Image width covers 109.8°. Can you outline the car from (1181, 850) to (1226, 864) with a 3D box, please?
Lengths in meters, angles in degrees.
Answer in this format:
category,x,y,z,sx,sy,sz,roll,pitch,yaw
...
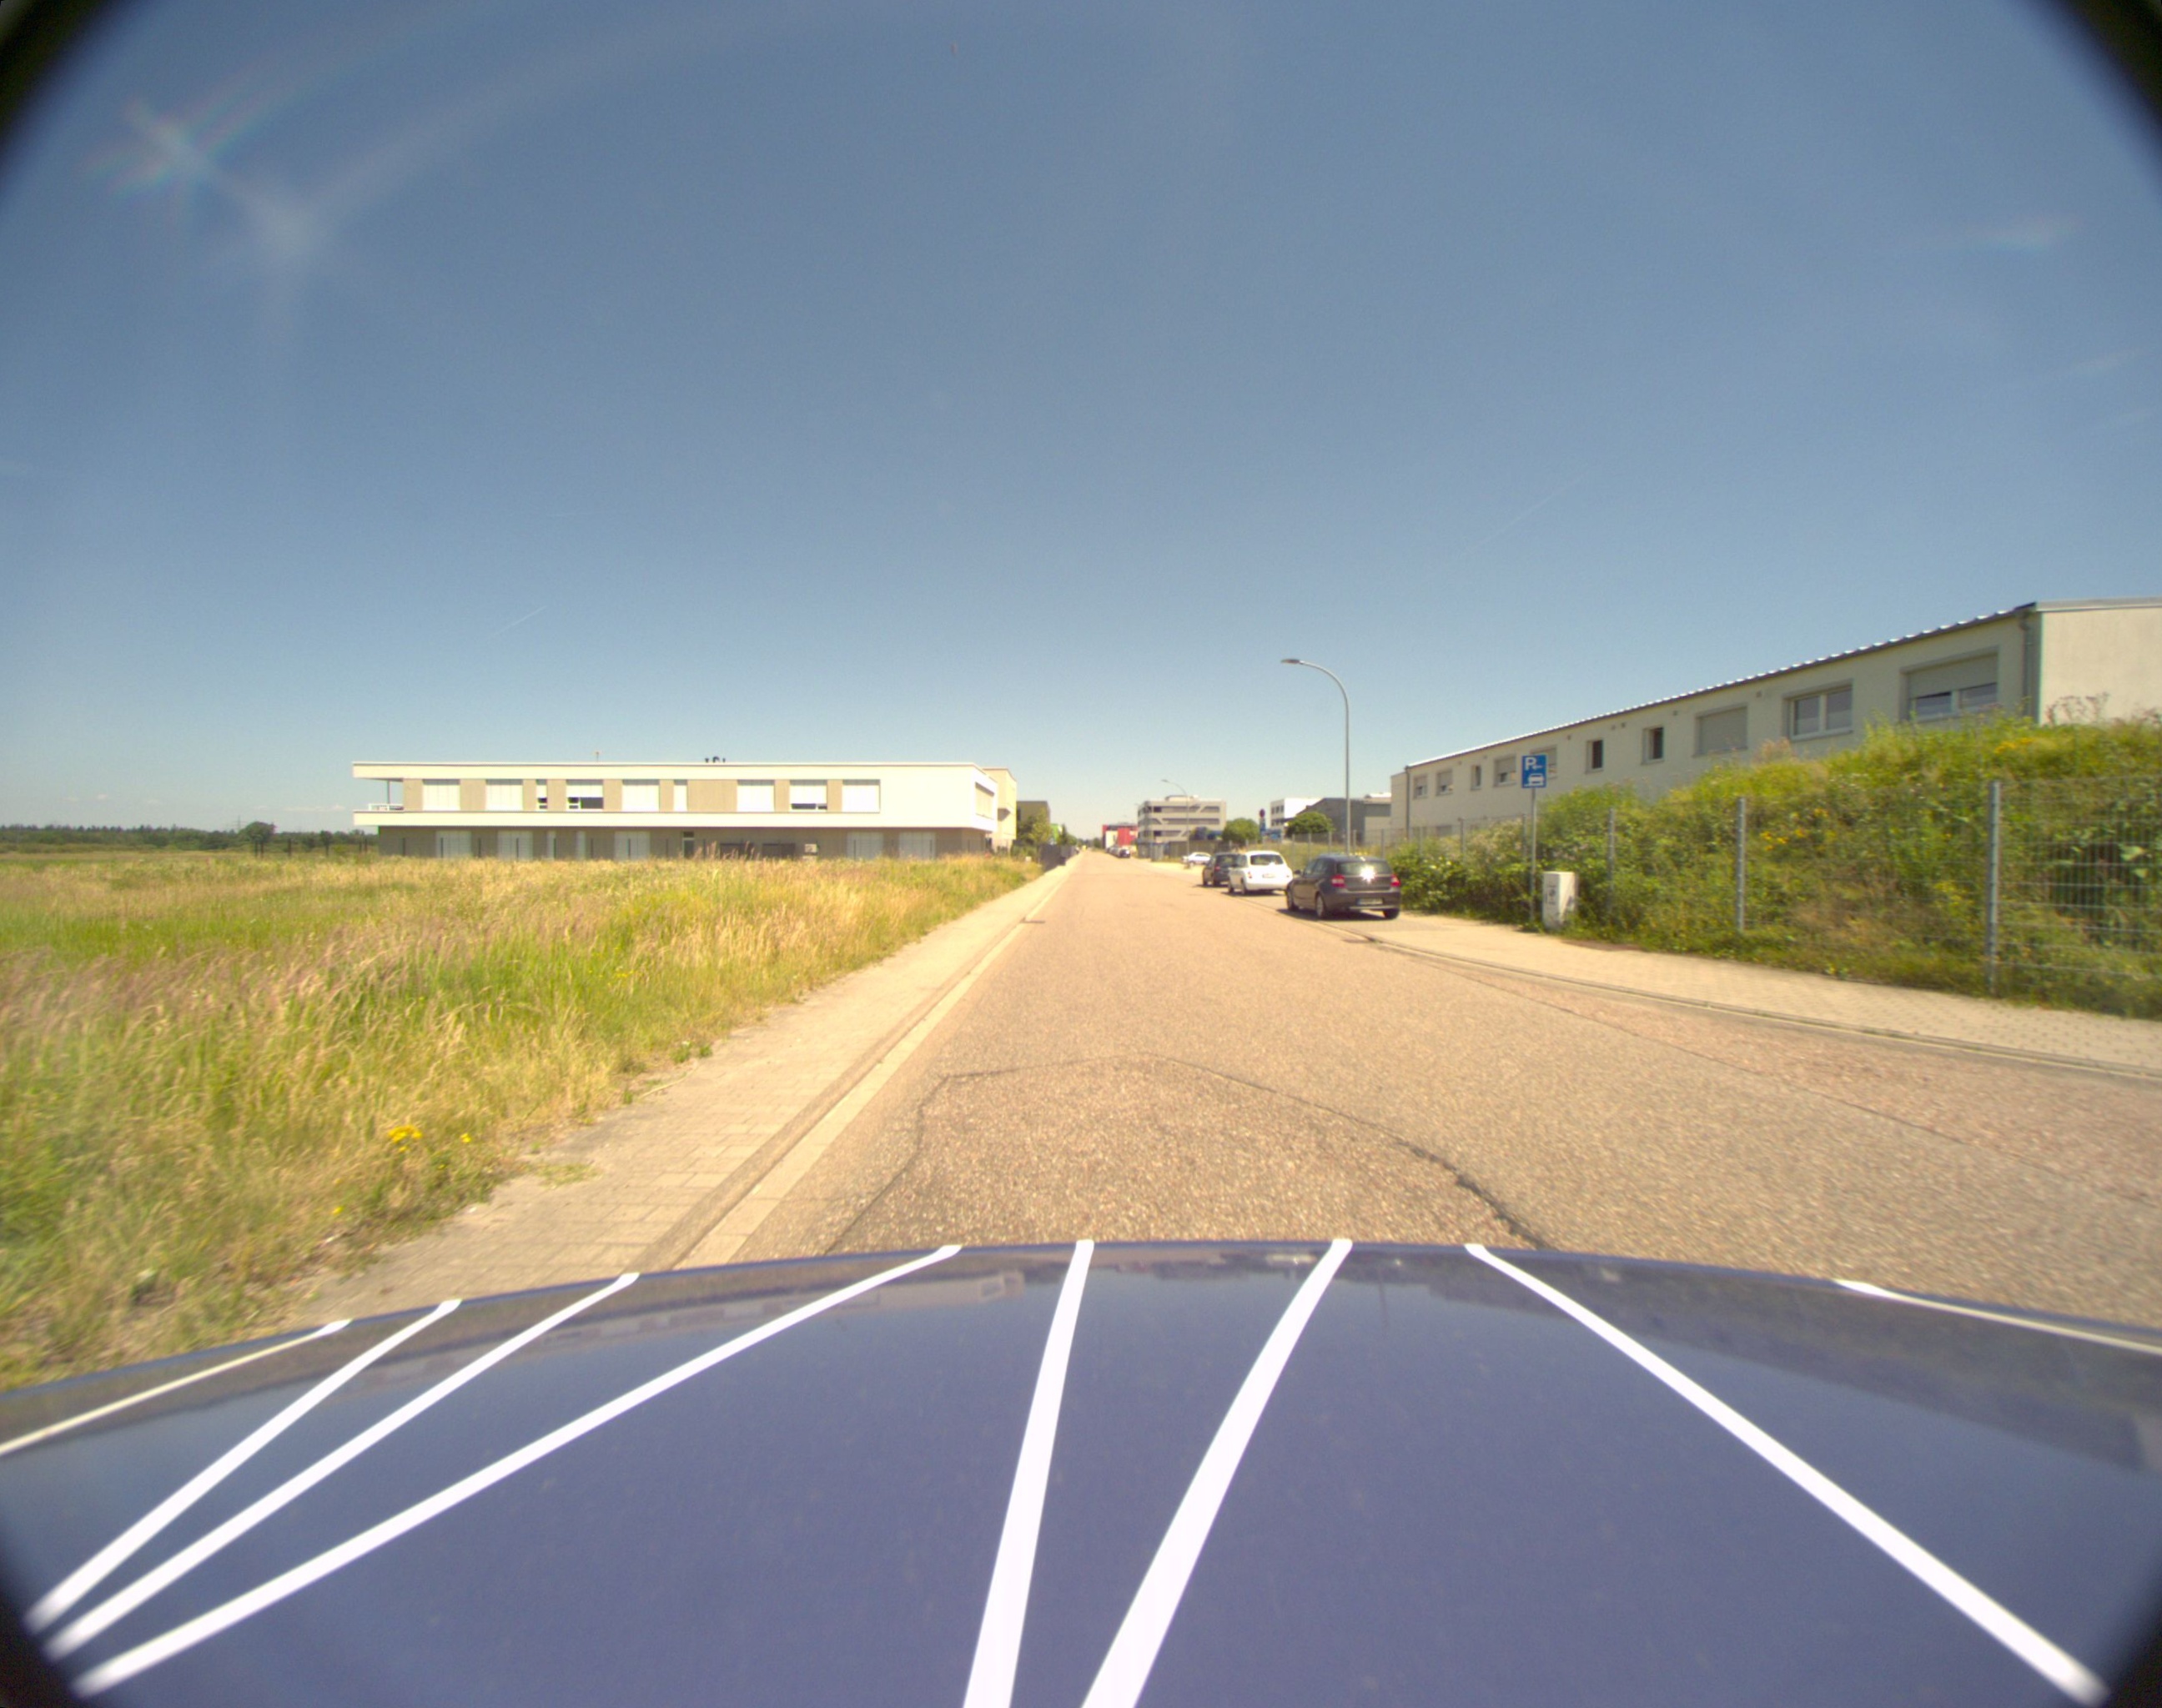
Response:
category,x,y,z,sx,sy,sz,roll,pitch,yaw
car,12.148,0.288,75.604,4.257,1.372,1.862,1,2,2

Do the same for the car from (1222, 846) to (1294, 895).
category,x,y,z,sx,sy,sz,roll,pitch,yaw
car,6.254,0.540,27.220,1.678,1.521,3.756,1,2,0

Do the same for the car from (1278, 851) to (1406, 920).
category,x,y,z,sx,sy,sz,roll,pitch,yaw
car,6.011,0.677,18.013,1.678,1.442,4.069,0,0,0

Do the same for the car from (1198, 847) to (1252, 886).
category,x,y,z,sx,sy,sz,roll,pitch,yaw
car,6.311,0.484,33.586,1.678,1.521,3.908,-1,2,1

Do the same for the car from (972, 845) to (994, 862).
category,x,y,z,sx,sy,sz,roll,pitch,yaw
car,-8.941,-0.069,69.741,1.673,1.548,4.077,0,0,-2

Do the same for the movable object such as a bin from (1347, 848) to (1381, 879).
category,x,y,z,sx,sy,sz,roll,pitch,yaw
movable object such as a bin,13.409,0.442,36.097,1.145,1.397,1.387,0,2,3

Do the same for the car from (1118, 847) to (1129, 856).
category,x,y,z,sx,sy,sz,roll,pitch,yaw
car,7.243,-0.456,128.665,1.695,1.482,3.659,-2,2,1

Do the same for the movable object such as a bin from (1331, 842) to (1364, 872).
category,x,y,z,sx,sy,sz,roll,pitch,yaw
movable object such as a bin,13.227,0.129,37.796,1.090,1.440,1.388,-1,2,-4

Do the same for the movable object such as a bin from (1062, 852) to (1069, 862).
category,x,y,z,sx,sy,sz,roll,pitch,yaw
movable object such as a bin,-1.656,0.297,81.385,0.749,1.042,0.698,1,2,1

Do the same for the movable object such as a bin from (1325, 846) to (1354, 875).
category,x,y,z,sx,sy,sz,roll,pitch,yaw
movable object such as a bin,13.342,0.319,39.262,1.127,1.440,1.371,0,2,3

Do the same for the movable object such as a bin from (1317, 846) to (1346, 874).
category,x,y,z,sx,sy,sz,roll,pitch,yaw
movable object such as a bin,13.433,0.289,40.786,1.146,1.440,1.434,0,2,3
